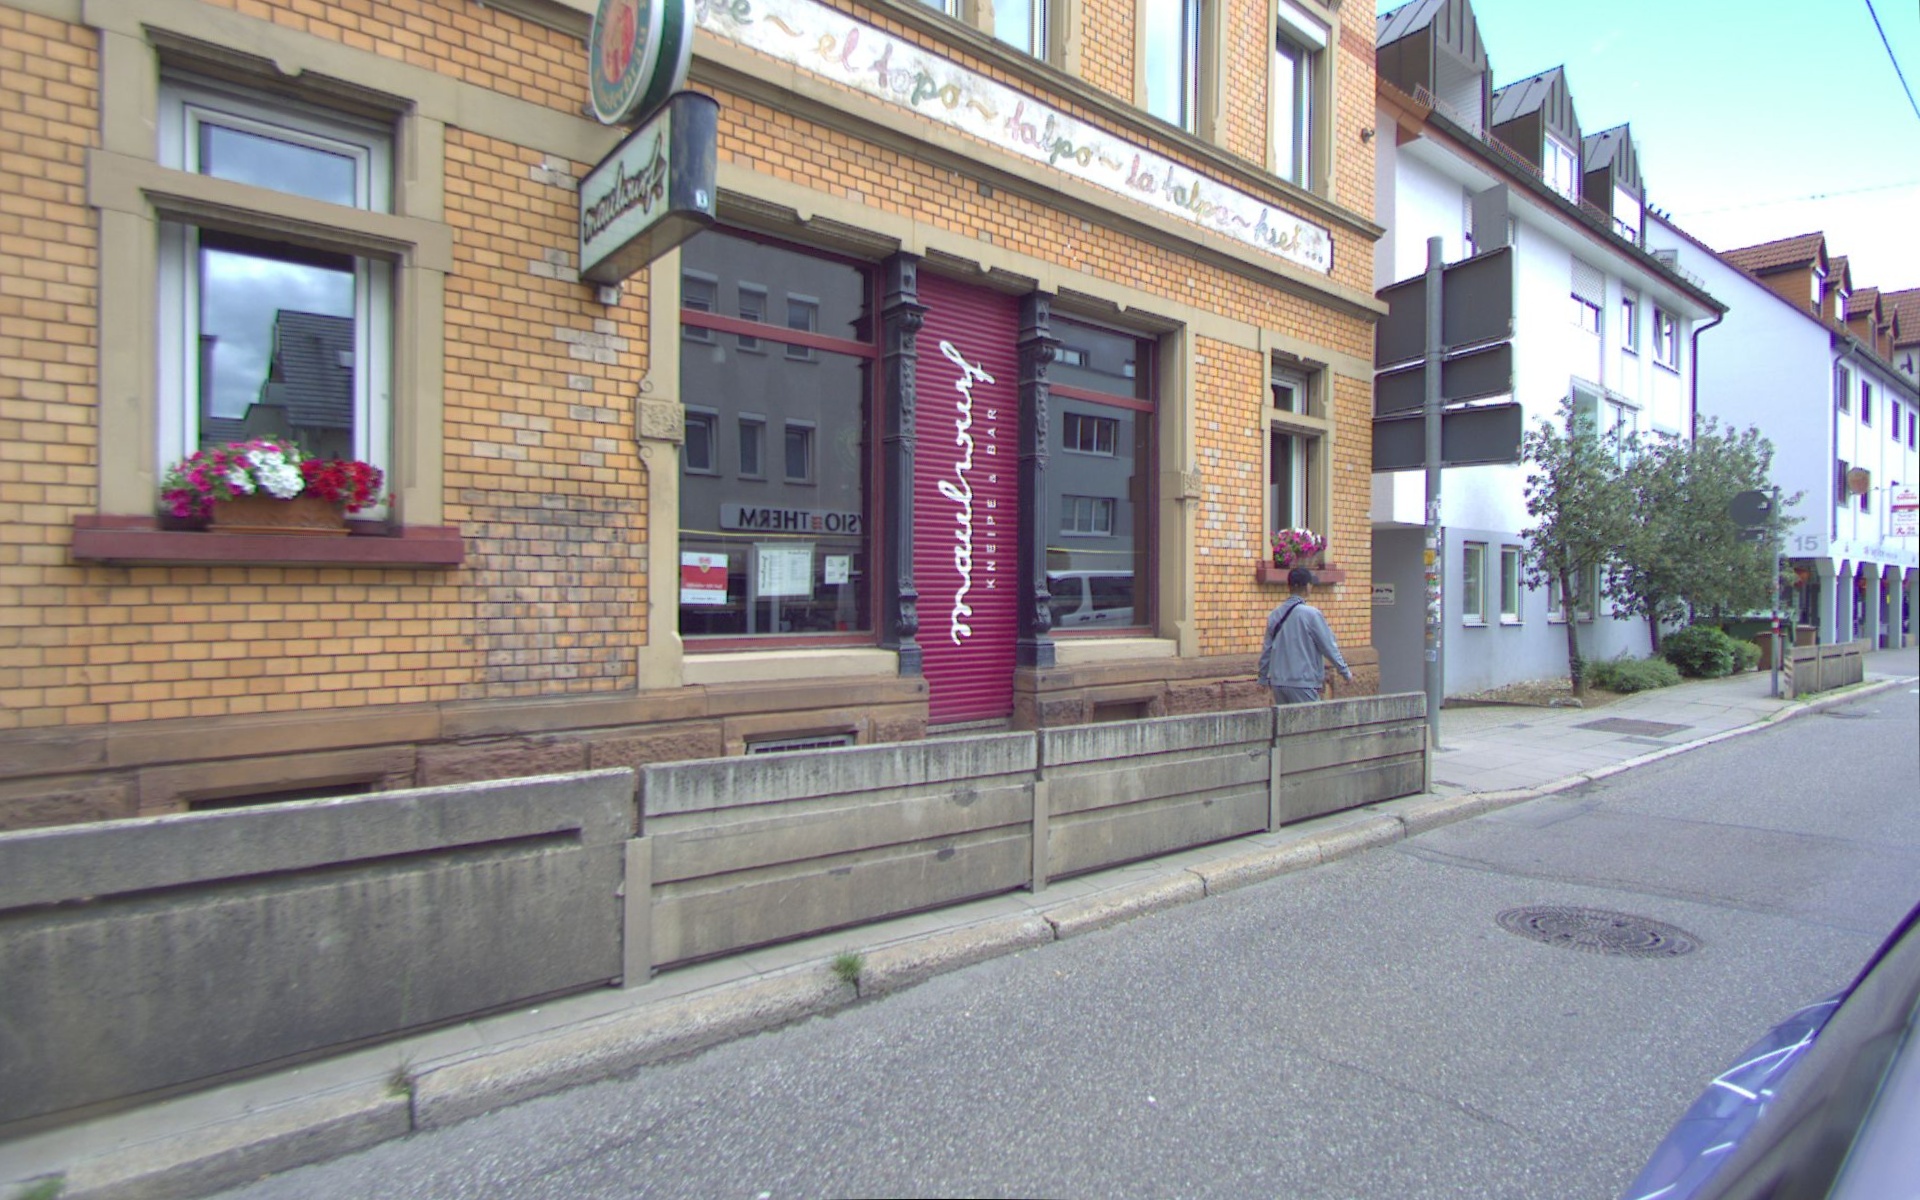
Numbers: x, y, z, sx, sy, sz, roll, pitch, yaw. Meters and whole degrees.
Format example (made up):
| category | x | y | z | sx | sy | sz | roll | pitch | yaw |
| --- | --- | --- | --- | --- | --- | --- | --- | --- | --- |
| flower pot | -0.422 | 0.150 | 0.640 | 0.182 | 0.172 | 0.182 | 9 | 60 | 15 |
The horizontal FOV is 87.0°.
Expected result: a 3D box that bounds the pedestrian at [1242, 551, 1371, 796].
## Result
| category | x | y | z | sx | sy | sz | roll | pitch | yaw |
| --- | --- | --- | --- | --- | --- | --- | --- | --- | --- |
| pedestrian | 2.640 | 0.523 | 7.711 | 0.638 | 1.752 | 0.689 | 1 | 0 | -41 |
